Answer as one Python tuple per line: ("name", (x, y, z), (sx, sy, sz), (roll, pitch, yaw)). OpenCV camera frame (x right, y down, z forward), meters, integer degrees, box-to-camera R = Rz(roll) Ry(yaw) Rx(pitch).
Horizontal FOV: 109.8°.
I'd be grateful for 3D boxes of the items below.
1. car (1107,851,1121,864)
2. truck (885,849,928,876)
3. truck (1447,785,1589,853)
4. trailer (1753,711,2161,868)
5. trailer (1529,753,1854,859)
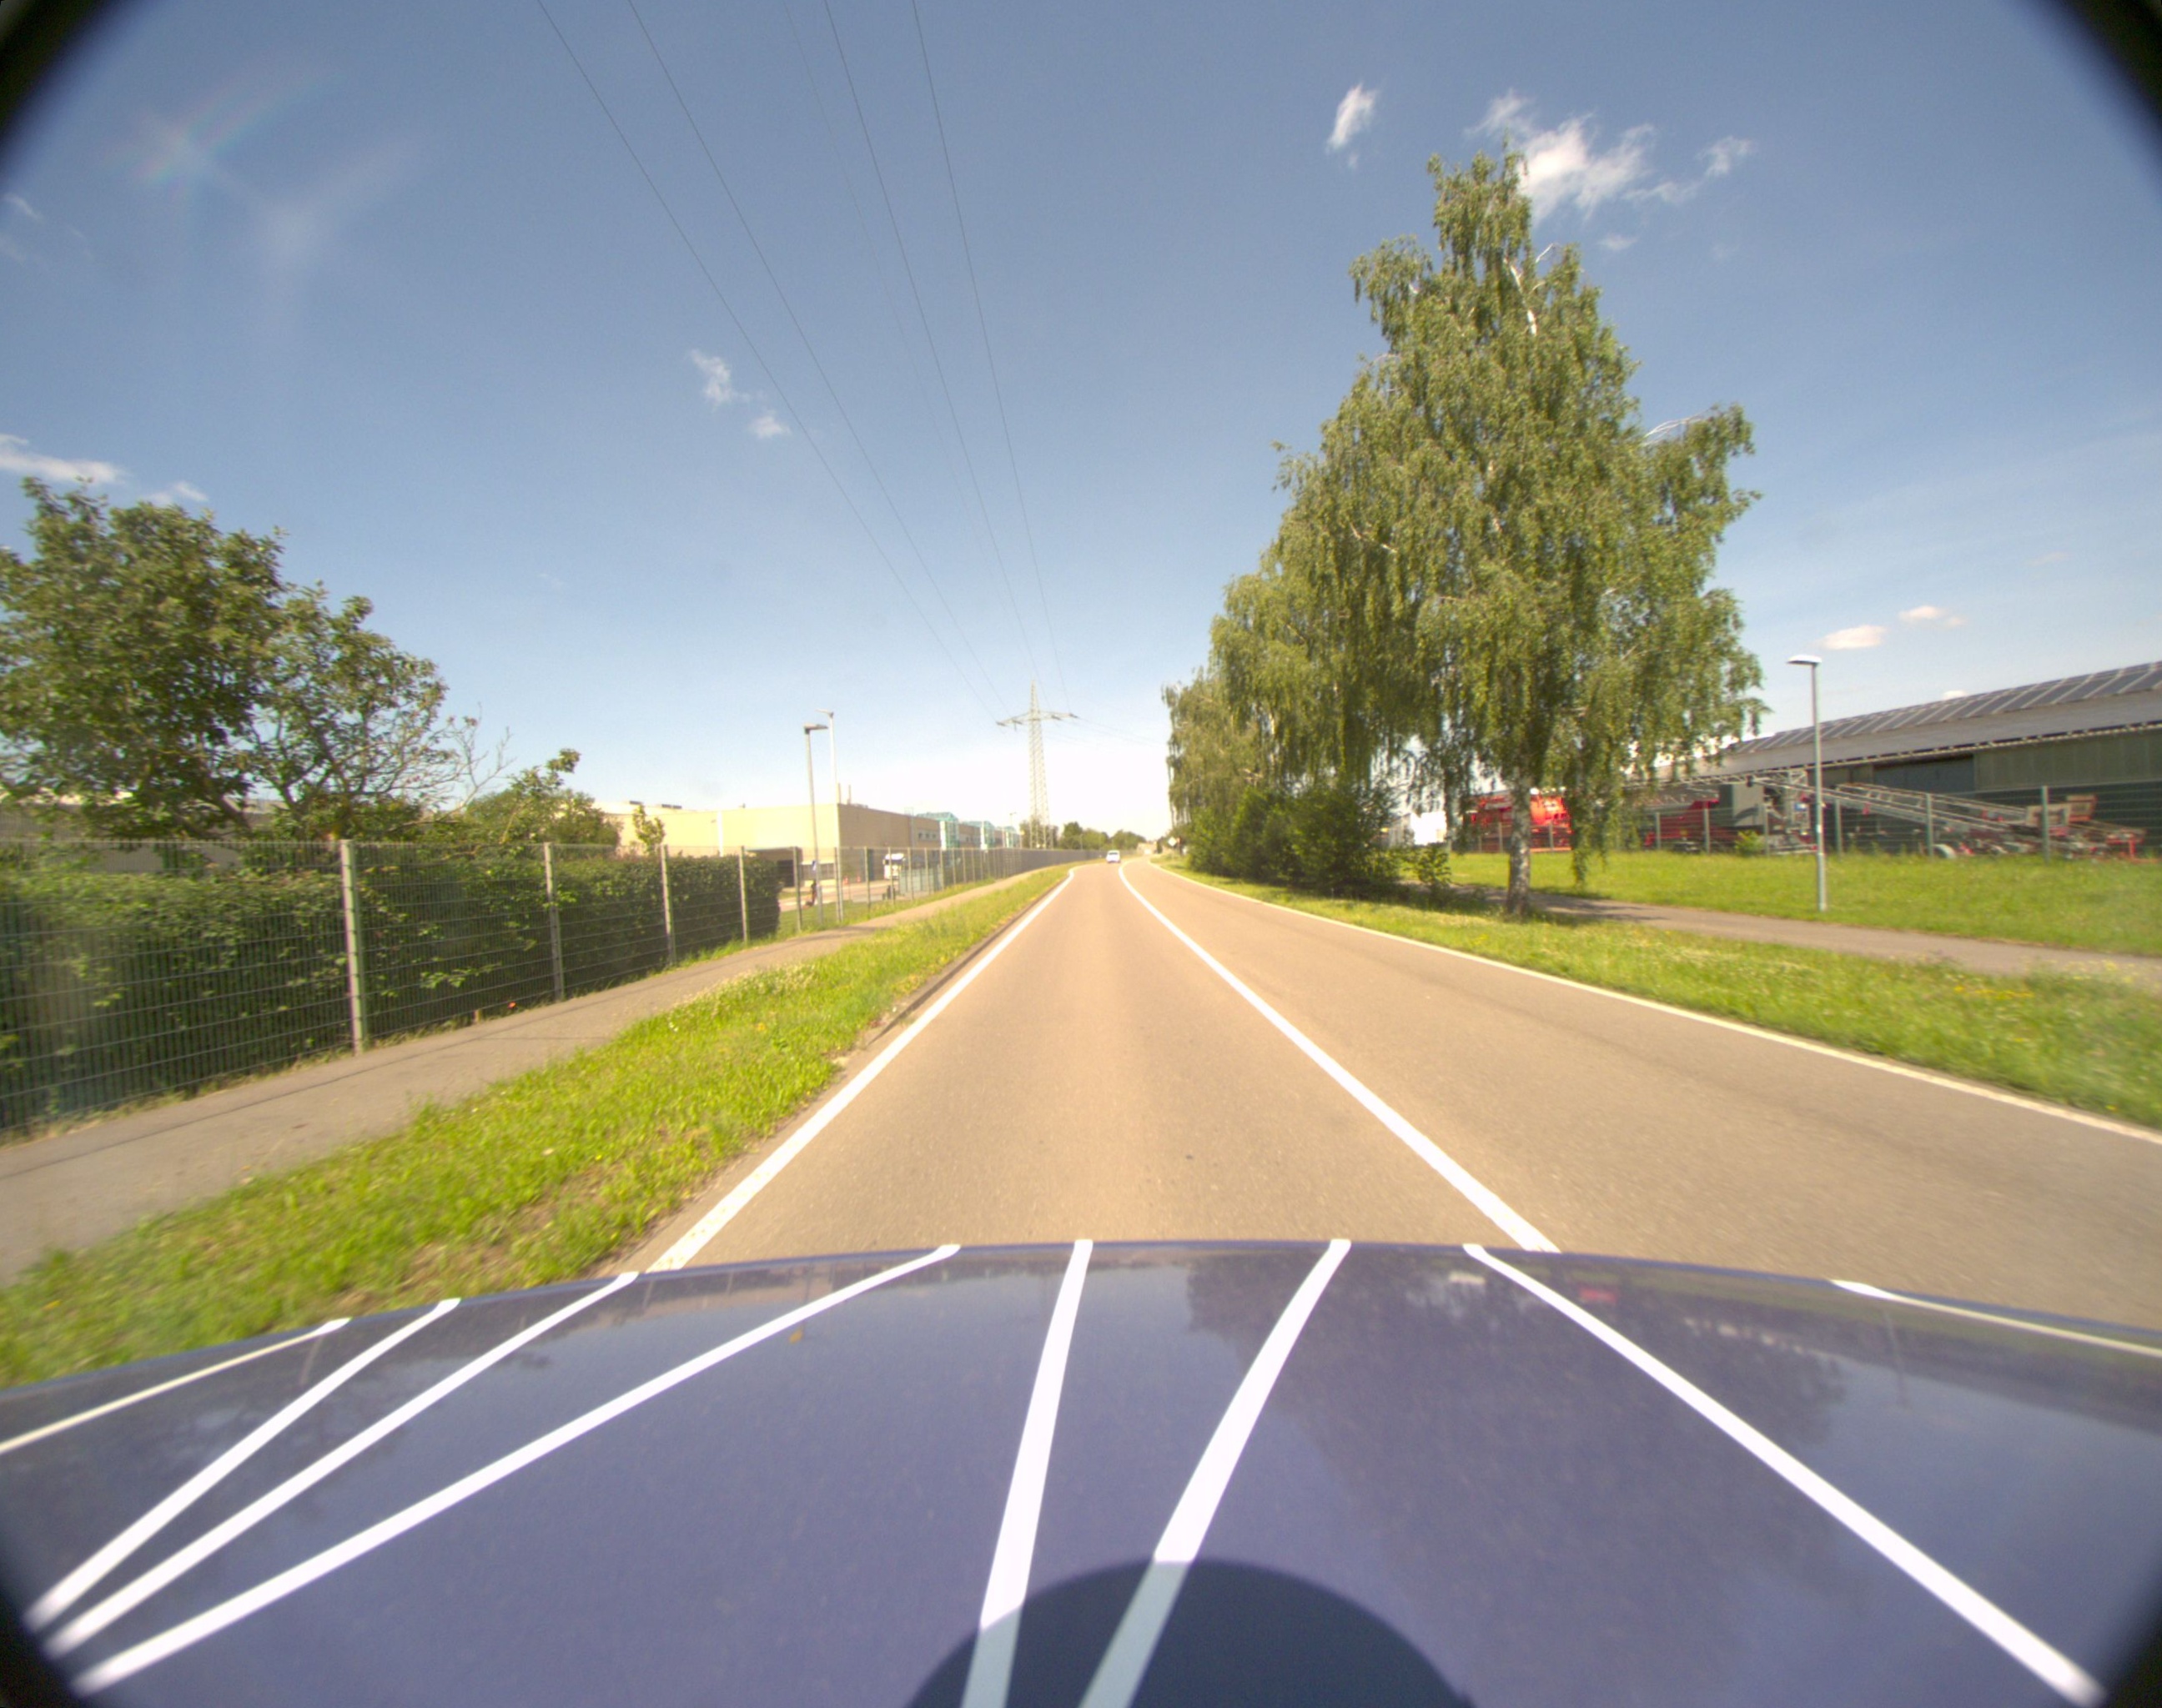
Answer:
("car", (5.042, 0.517, 114.598), (1.836, 1.796, 4.831), (-2, 1, 6))
("truck", (-25.914, 1.179, 113.454), (2.863, 3.720, 11.677), (-2, 1, 3))
("truck", (26.467, -2.010, 46.864), (3.108, 3.624, 10.594), (-2, 1, 3))
("trailer", (25.184, -1.610, 22.382), (3.407, 3.624, 8.659), (-2, 1, 3))
("trailer", (25.814, -1.803, 34.138), (3.298, 3.624, 14.926), (-2, 1, 3))
